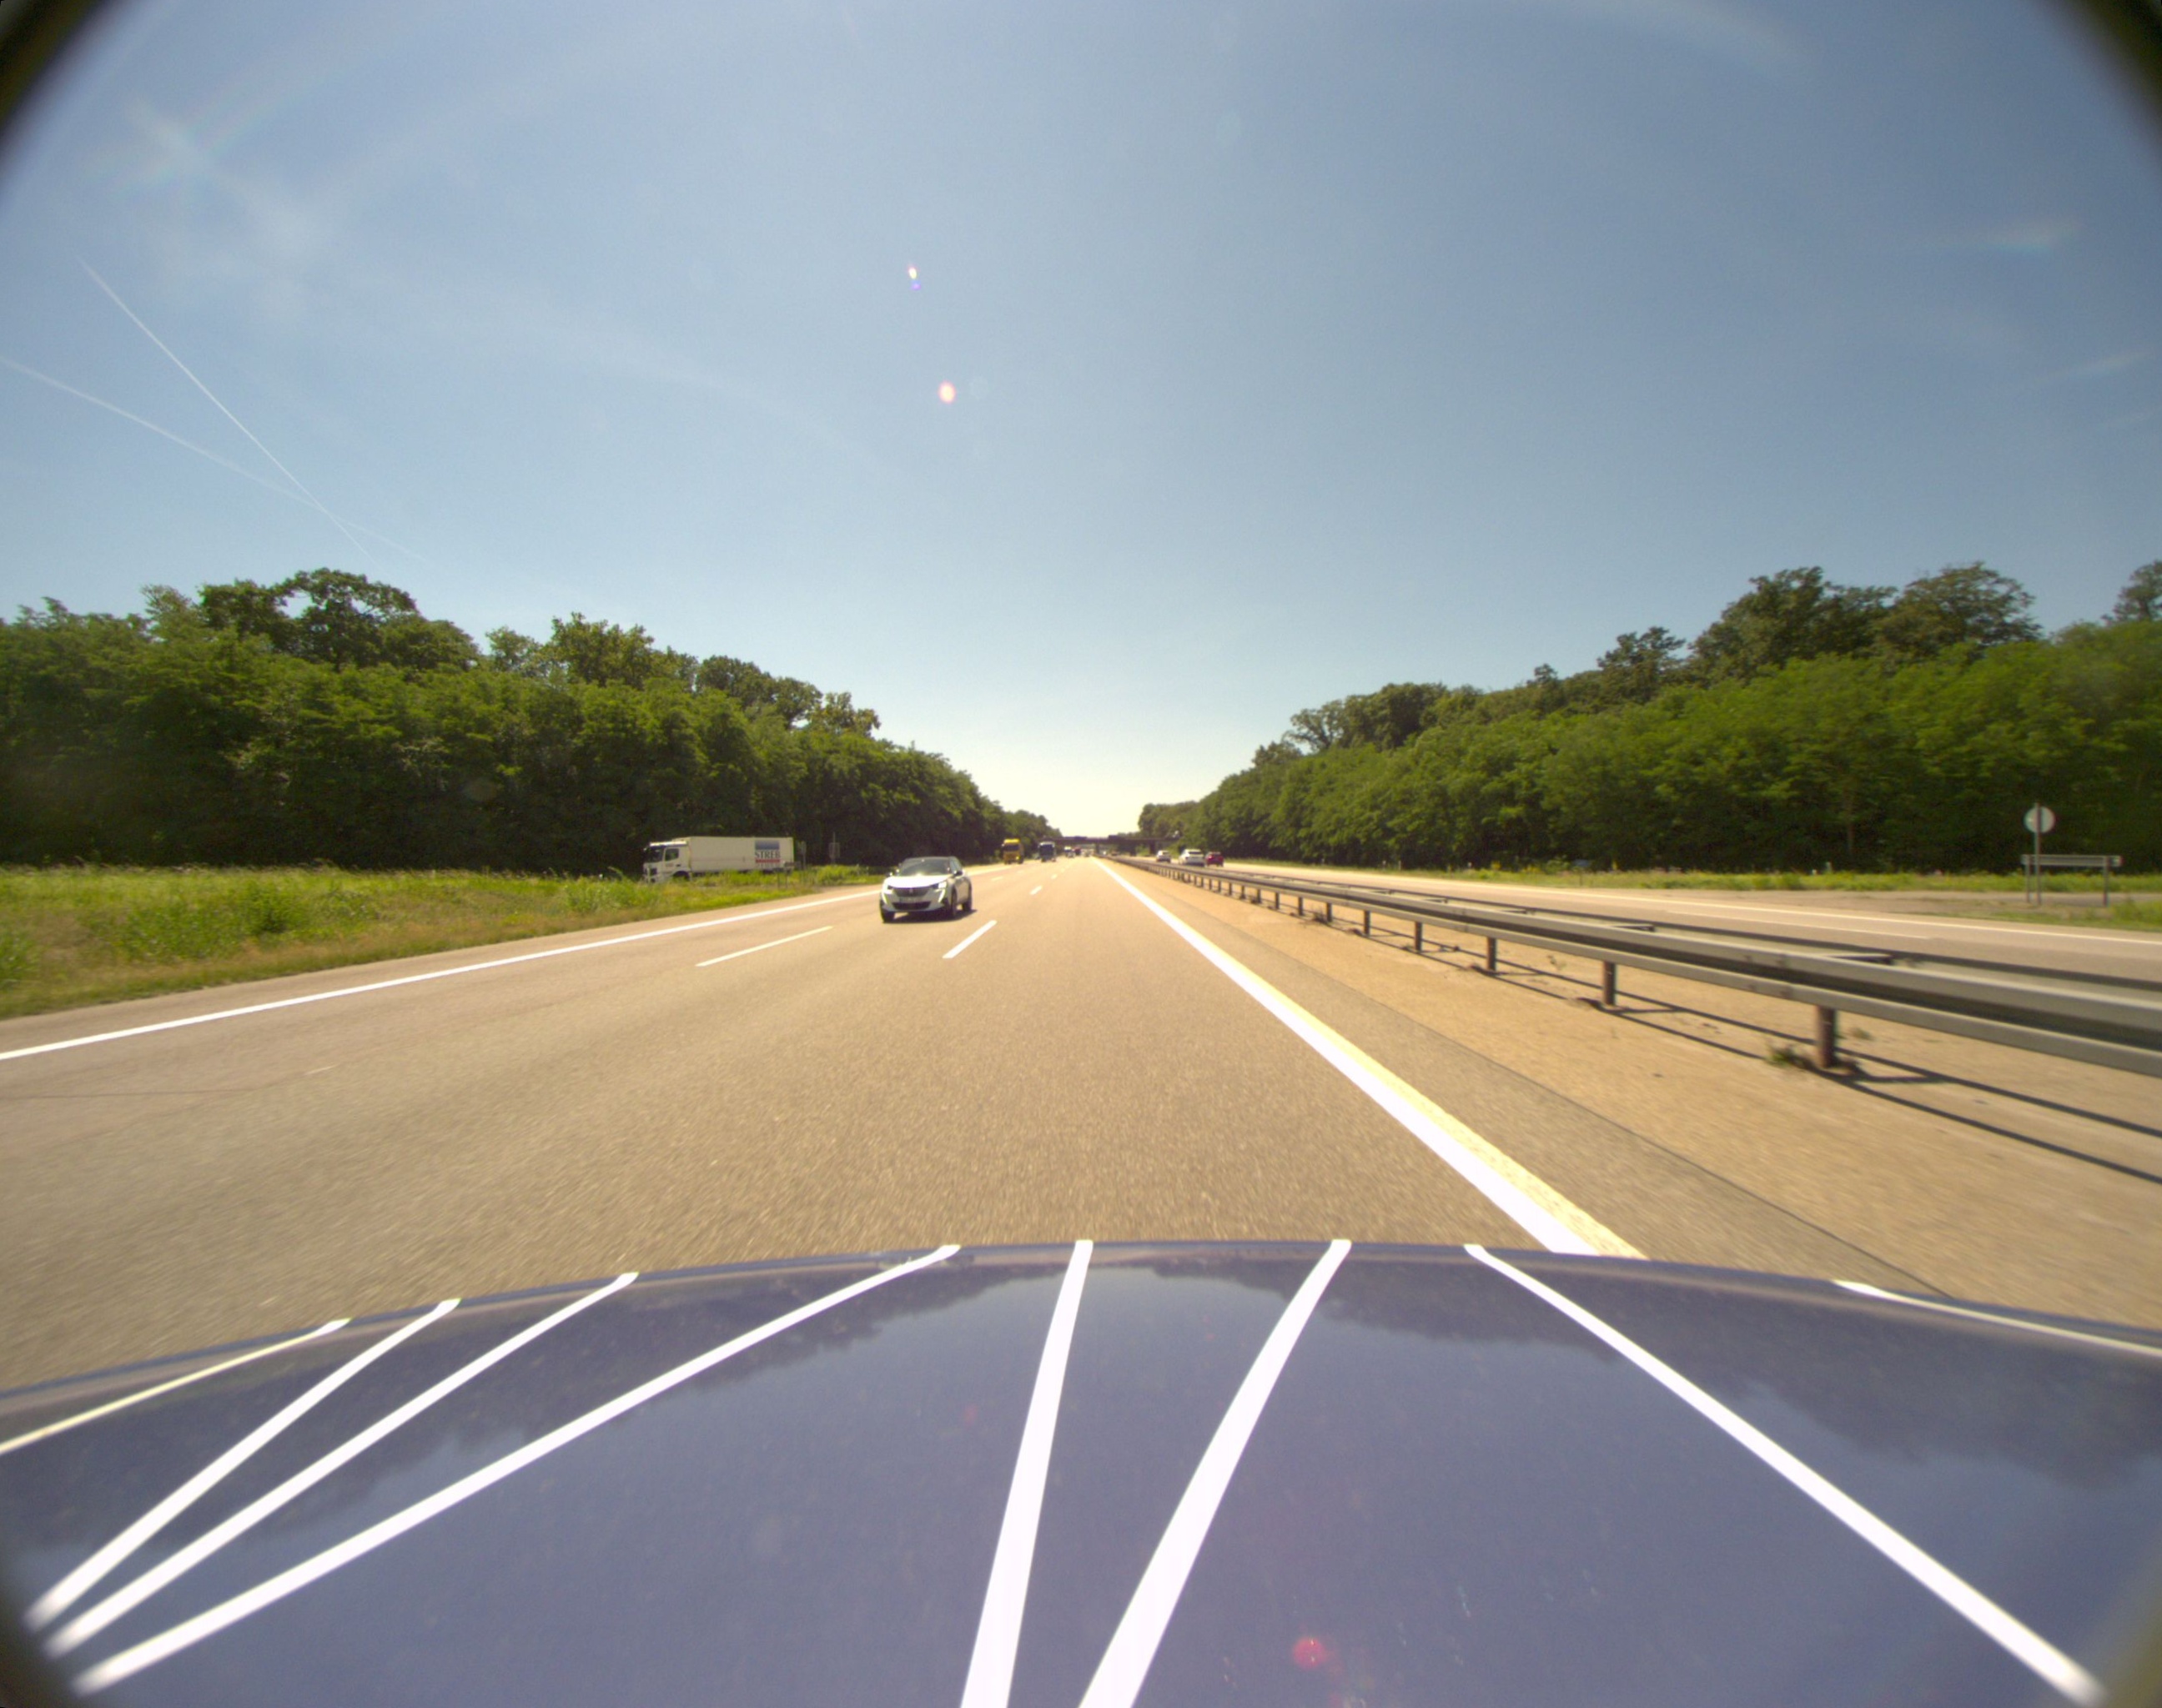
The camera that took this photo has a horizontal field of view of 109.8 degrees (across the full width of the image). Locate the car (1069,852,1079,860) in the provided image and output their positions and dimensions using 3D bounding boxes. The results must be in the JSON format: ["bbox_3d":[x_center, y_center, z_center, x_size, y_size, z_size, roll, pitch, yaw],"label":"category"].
[{"bbox_3d":[-2.024,0.553,219.195,2.616,2.389,7.122,-2,1,0],"label":"car"}]

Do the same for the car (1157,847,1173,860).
[{"bbox_3d":[11.582,-0.086,104.808,1.767,1.683,4.818,-1,1,1],"label":"car"}]

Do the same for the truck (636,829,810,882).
[{"bbox_3d":[-24.775,-0.010,53.404,3.030,3.300,10.791,-2,1,37],"label":"truck"}]

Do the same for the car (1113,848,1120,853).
[{"bbox_3d":[12.493,-1.224,266.980,1.998,1.952,5.211,-2,1,0],"label":"car"}]

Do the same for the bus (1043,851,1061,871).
[{"bbox_3d":[-5.413,1.215,144.012,2.617,3.532,13.681,-2,1,0],"label":"bus"}]

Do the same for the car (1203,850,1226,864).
[{"bbox_3d":[14.176,0.280,80.750,1.767,1.486,4.074,1,1,1],"label":"car"}]

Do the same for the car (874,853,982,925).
[{"bbox_3d":[-3.898,0.815,20.231,1.832,1.599,4.808,-2,1,0],"label":"car"}]

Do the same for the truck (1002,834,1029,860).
[{"bbox_3d":[-10.841,-1.196,126.596,2.982,4.013,10.981,-3,1,2],"label":"truck"}]

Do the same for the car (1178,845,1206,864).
[{"bbox_3d":[10.084,0.026,69.180,1.815,1.683,5.124,-1,1,1],"label":"car"}]

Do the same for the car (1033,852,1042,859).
[{"bbox_3d":[-10.933,0.358,189.572,1.875,1.547,4.201,-2,1,0],"label":"car"}]
